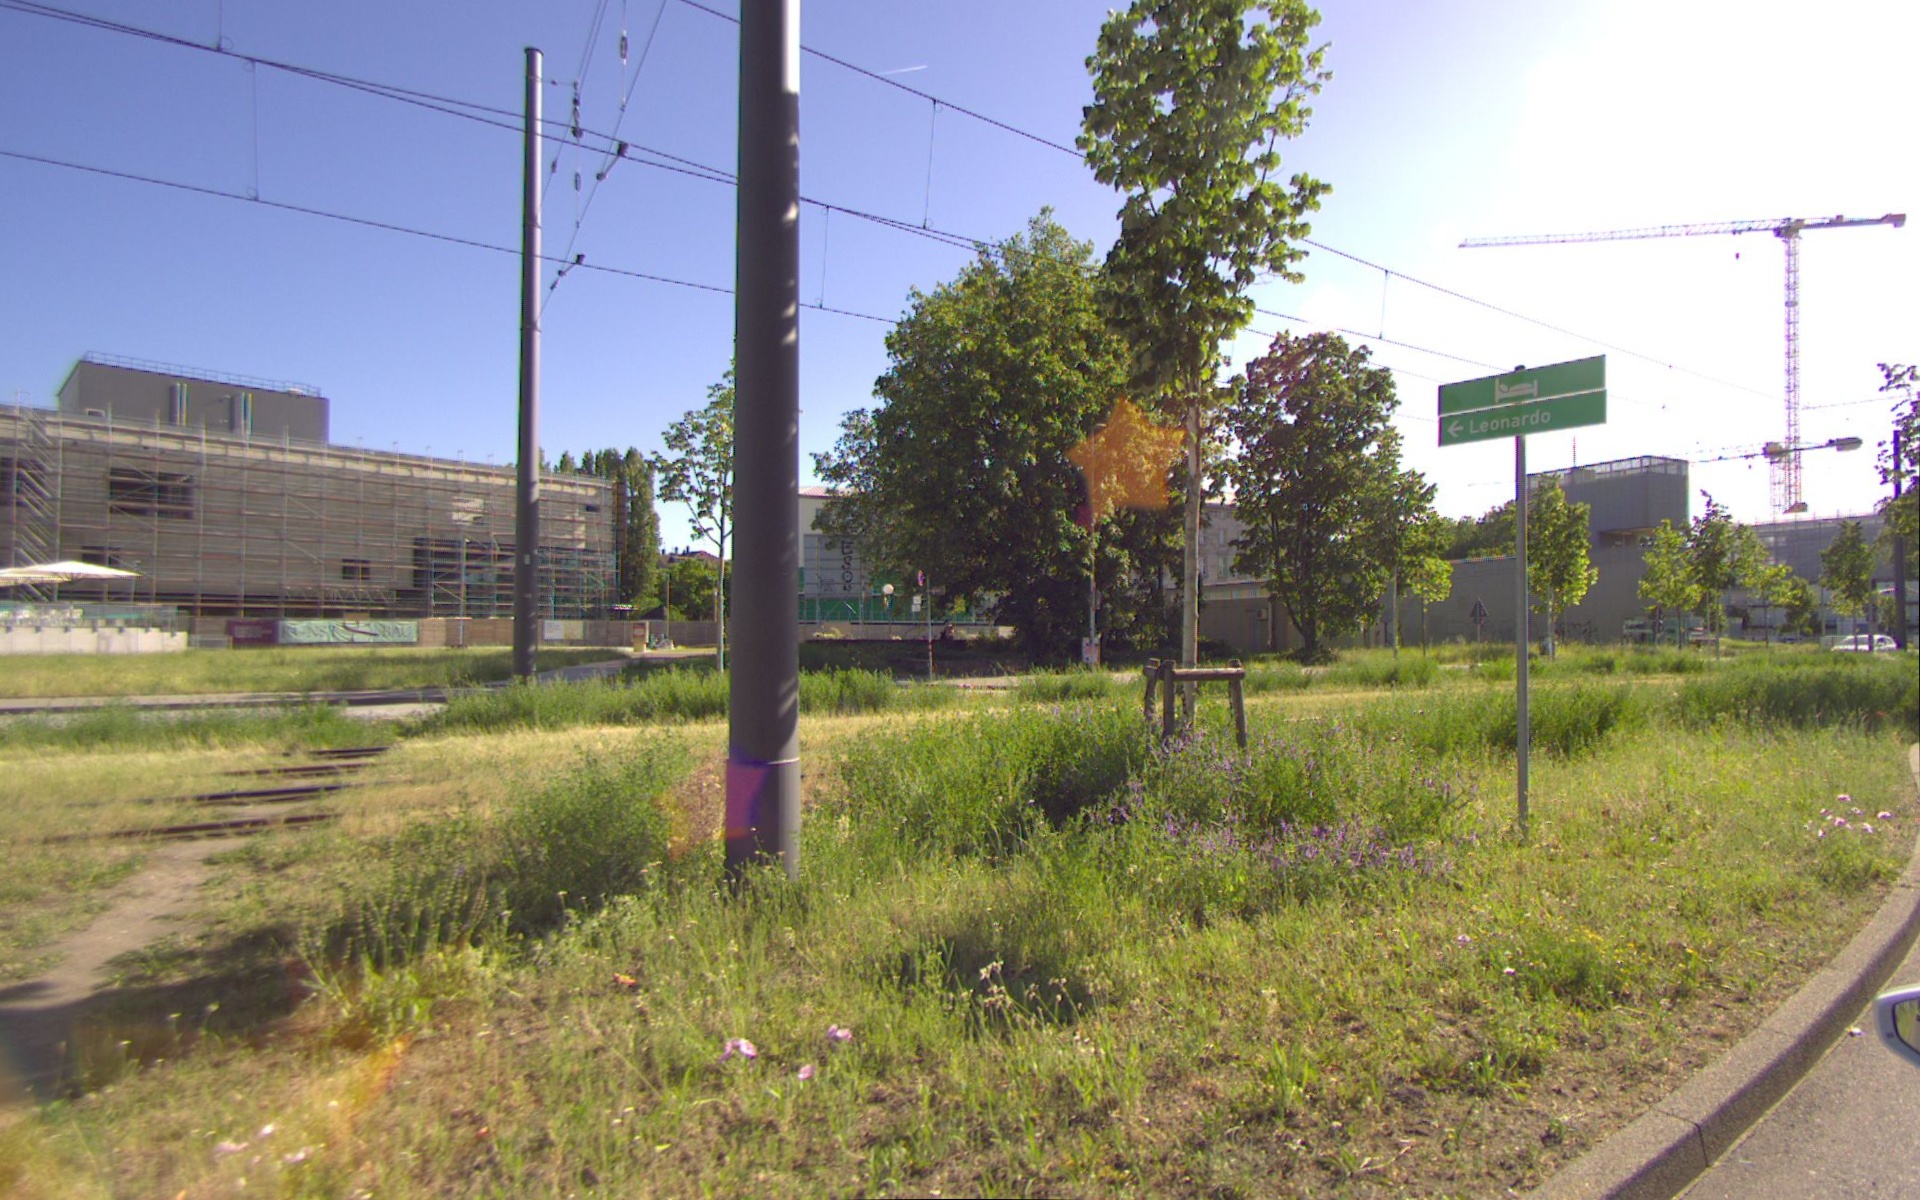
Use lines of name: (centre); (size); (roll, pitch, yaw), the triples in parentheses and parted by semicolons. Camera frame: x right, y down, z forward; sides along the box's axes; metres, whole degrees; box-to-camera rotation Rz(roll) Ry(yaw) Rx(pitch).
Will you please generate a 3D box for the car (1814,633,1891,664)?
car: (42.405, 2.287, 47.713); (3.787, 1.416, 1.625); (1, -1, -30)
